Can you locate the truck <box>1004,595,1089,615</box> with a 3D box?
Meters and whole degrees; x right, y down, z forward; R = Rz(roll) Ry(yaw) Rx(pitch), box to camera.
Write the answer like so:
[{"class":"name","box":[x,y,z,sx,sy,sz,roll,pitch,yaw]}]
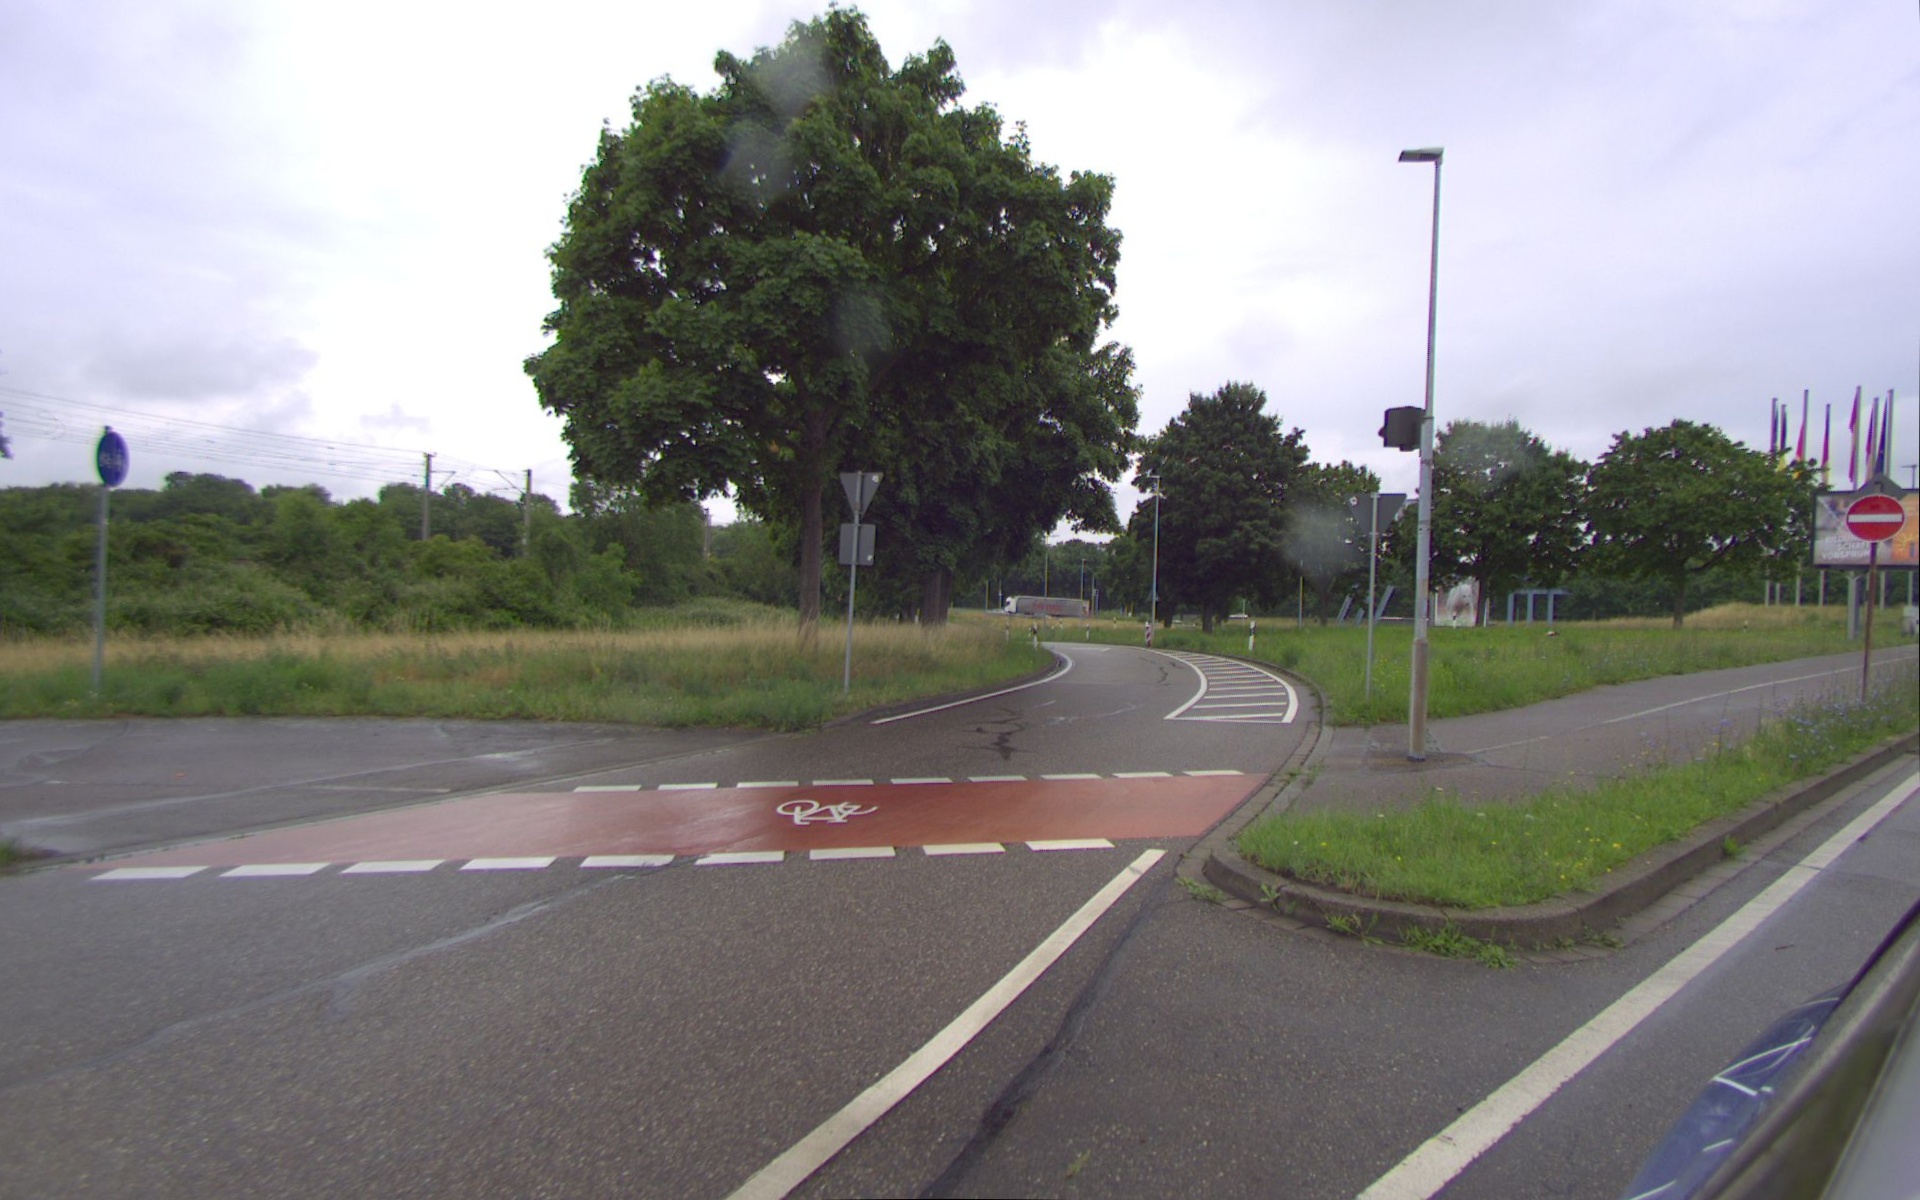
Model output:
[{"class":"truck","box":[15.482,0.942,182.404,16.154,3.433,2.715,0,0,34]}]
